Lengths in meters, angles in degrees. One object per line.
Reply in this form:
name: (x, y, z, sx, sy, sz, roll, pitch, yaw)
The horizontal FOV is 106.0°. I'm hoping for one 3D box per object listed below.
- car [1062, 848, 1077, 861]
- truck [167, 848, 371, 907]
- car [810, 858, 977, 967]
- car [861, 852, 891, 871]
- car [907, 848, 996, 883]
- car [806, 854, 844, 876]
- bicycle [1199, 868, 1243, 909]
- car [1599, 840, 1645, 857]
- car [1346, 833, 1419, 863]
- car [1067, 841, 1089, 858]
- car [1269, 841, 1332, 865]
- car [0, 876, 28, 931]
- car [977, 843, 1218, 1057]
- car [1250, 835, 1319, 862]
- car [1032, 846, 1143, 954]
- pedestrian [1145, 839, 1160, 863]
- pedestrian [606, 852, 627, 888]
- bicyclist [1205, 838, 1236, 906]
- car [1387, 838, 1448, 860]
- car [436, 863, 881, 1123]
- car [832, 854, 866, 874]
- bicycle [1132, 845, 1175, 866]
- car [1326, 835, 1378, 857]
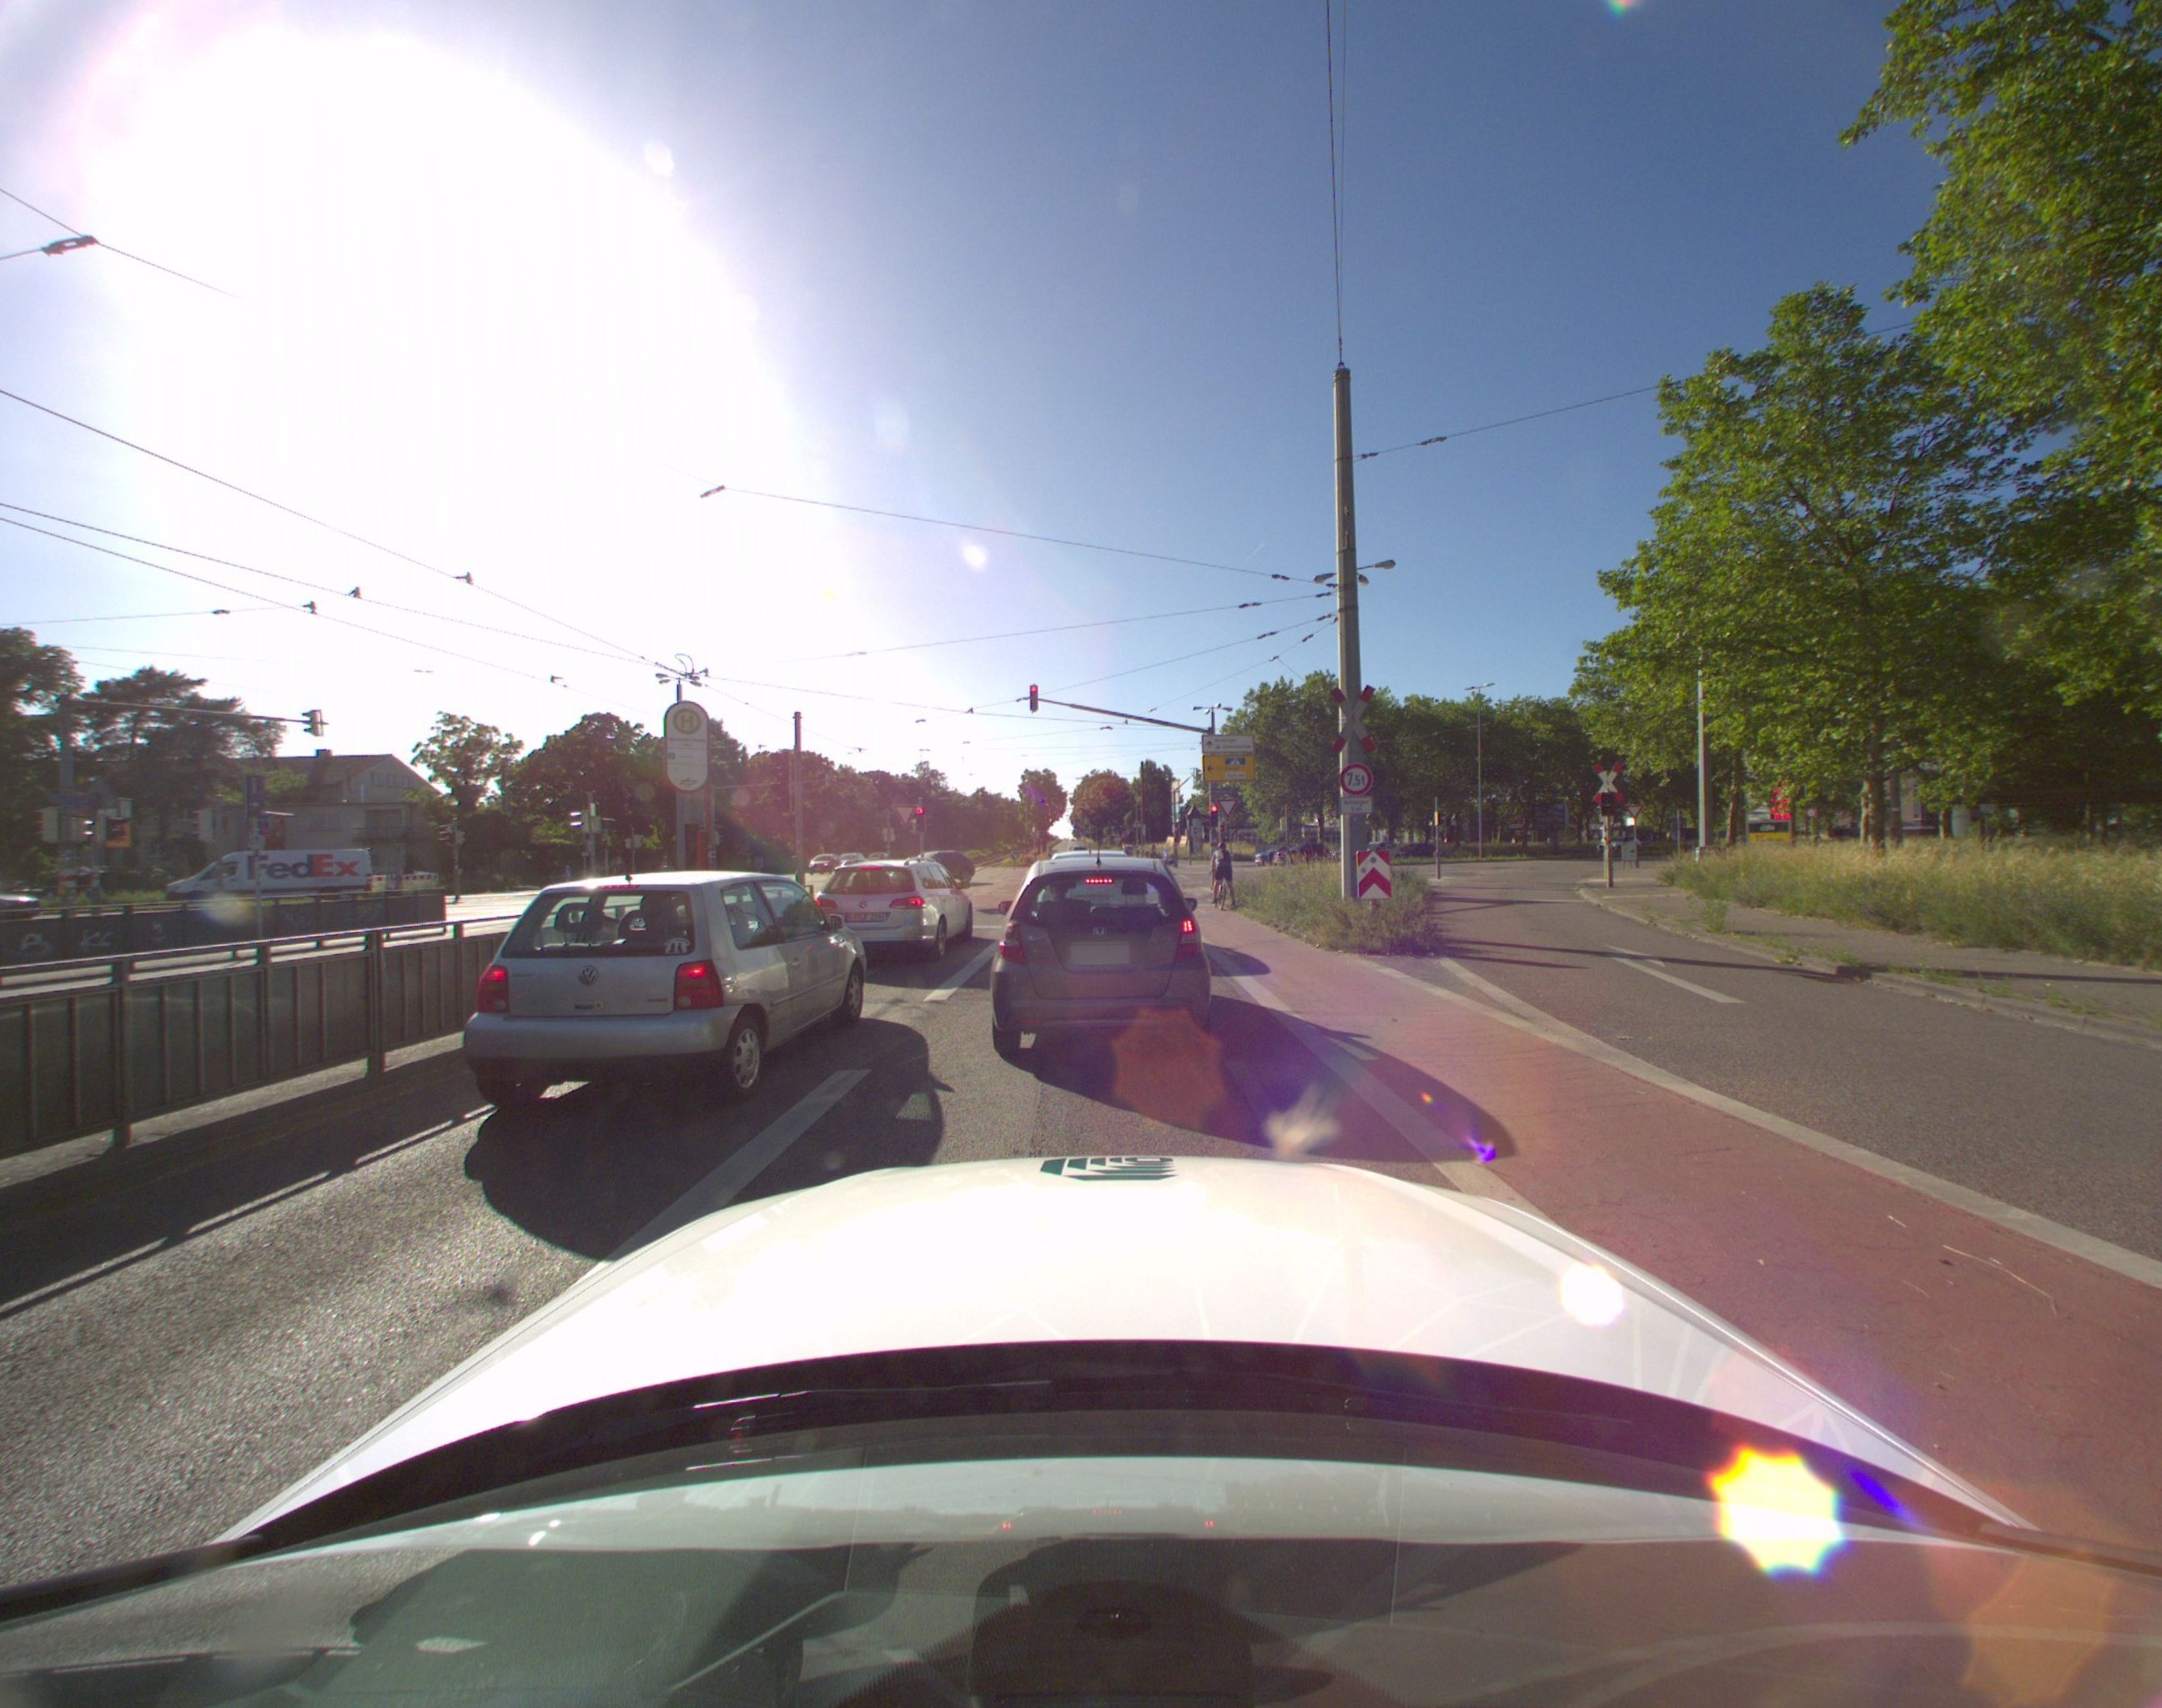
car: (-1.297, 0.085, 93.460, 1.519, 1.378, 3.671, -2, 0, -3)
truck: (-39.098, 1.046, 39.513, 1.975, 2.565, 6.863, -1, 0, 44)
car: (-2.780, 0.796, 12.980, 1.613, 1.457, 4.086, -1, 0, 1)
car: (-18.786, 0.671, 74.751, 1.991, 1.604, 4.745, 0, 0, -6)
car: (-6.152, 0.517, 38.973, 1.572, 1.544, 4.007, -2, 0, 45)
car: (-19.021, 0.807, 60.702, 1.829, 1.548, 3.993, -2, 0, -5)
bicycle: (3.630, 0.865, 21.300, 0.719, 0.989, 2.876, 0, 0, 1)
car: (50.421, -0.521, 75.852, 4.004, 1.501, 1.581, -2, 0, -23)
car: (21.952, -0.447, 59.248, 4.906, 2.013, 1.986, -2, 0, -22)
car: (-0.271, -0.385, 76.609, 1.707, 1.478, 3.992, -2, 0, -5)
car: (15.014, -0.086, 55.790, 4.002, 1.531, 1.594, -2, 0, -22)
car: (-32.029, 1.436, 21.494, 4.844, 1.497, 1.771, -2, 0, -25)
car: (0.106, 0.668, 7.490, 1.663, 1.462, 3.585, -1, 0, -1)
car: (15.024, -0.376, 60.083, 4.705, 1.879, 1.986, 0, -1, -22)
car: (0.143, 0.677, 14.129, 1.605, 1.562, 4.289, -1, 0, 1)
pedestrian: (5.543, -0.249, 62.941, 0.856, 1.836, 0.784, -2, 0, -24)
pedestrian: (-26.537, 0.922, 46.548, 0.748, 2.013, 0.788, -2, 0, -11)
bicyclist: (3.629, 0.458, 21.223, 0.663, 1.716, 0.948, 0, -1, 1)
car: (26.880, -0.412, 65.049, 4.526, 1.574, 1.681, -2, 0, -21)
car: (-2.830, 0.815, 6.332, 1.613, 1.417, 3.352, -2, 0, 1)
car: (-18.920, 0.815, 66.495, 1.829, 1.548, 4.277, -2, 0, -5)
bicycle: (5.609, 0.117, 62.952, 3.218, 1.574, 0.815, -2, 0, -24)
car: (20.906, -0.592, 62.855, 3.757, 1.570, 1.480, -2, 0, -21)
